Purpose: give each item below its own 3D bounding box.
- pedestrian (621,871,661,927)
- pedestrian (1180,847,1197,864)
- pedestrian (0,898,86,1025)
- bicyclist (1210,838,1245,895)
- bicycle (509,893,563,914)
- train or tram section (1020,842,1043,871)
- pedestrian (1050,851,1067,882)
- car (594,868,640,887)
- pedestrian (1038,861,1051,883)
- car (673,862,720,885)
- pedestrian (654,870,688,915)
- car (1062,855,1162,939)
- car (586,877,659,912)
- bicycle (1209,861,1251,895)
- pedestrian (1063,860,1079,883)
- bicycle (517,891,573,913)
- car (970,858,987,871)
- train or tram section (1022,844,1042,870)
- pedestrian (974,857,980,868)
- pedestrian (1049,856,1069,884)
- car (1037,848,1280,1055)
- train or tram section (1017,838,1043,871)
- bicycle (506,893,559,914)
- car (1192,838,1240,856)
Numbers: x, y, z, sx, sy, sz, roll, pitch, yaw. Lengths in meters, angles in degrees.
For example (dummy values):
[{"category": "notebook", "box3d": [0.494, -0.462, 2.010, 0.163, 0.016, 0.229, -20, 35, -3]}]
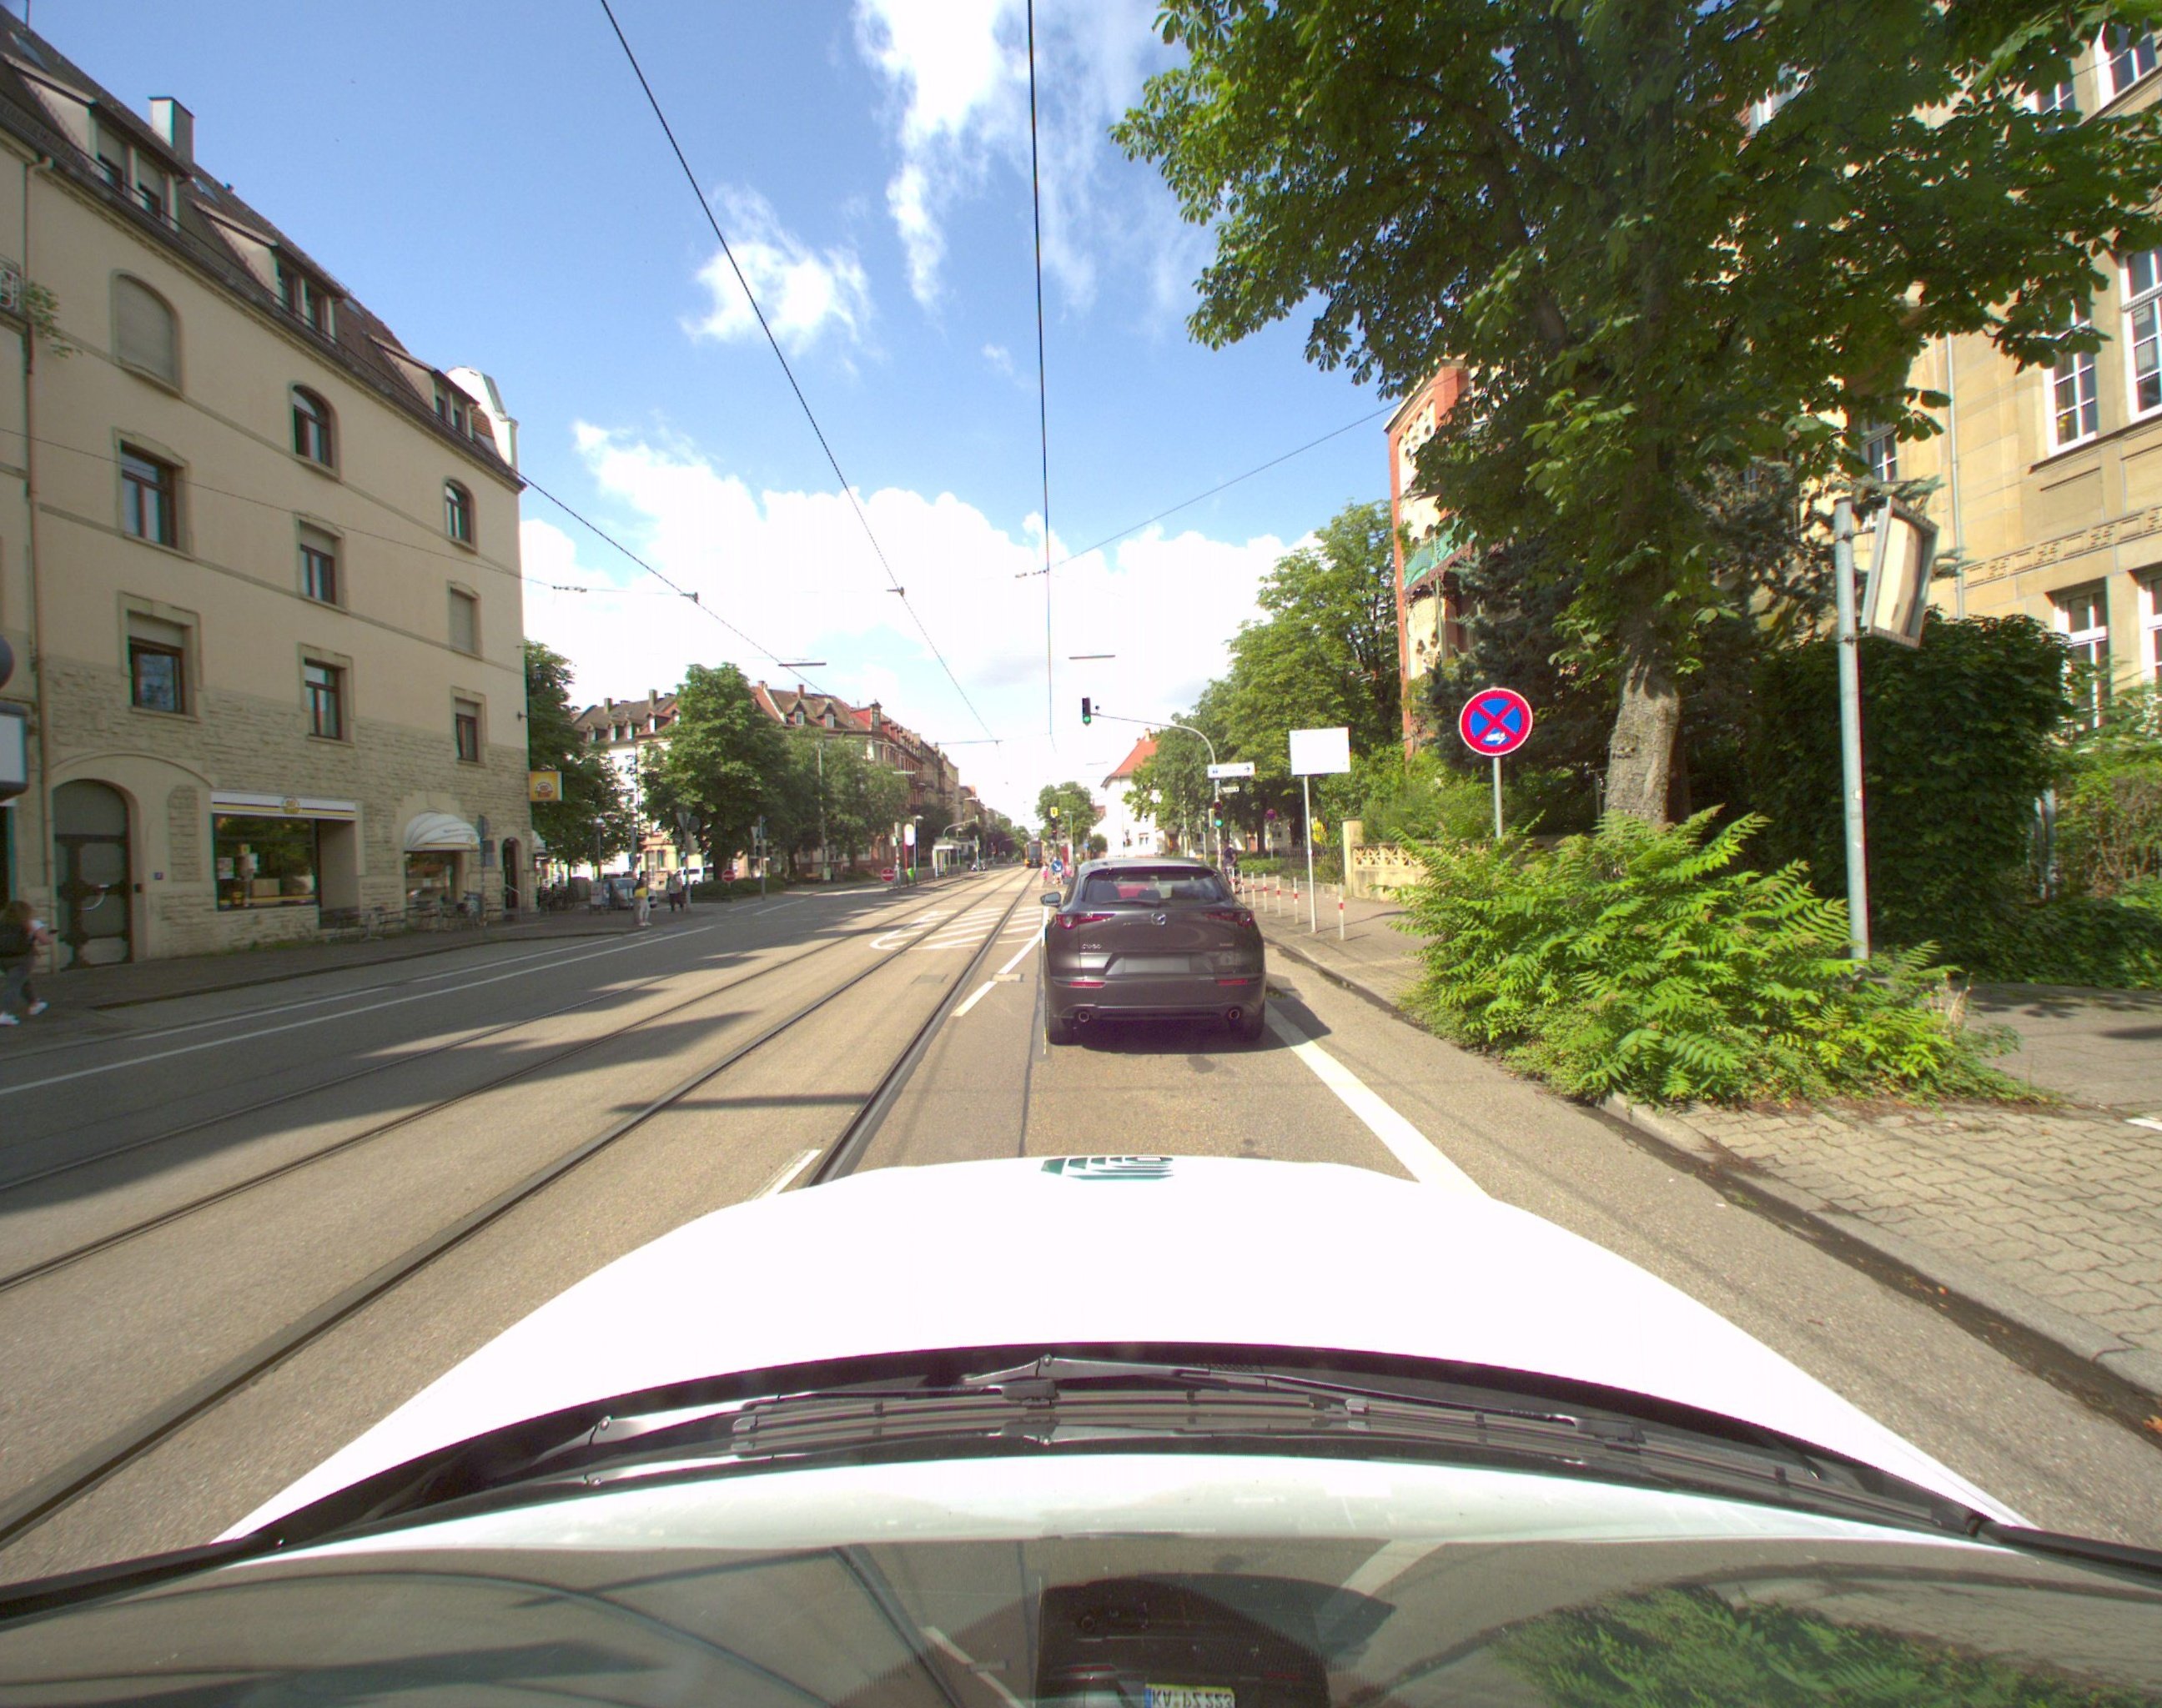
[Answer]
[{"category": "pedestrian", "box3d": [-13.809, 1.391, 25.577, 0.754, 1.704, 0.873, 2, 0, -3]}, {"category": "pedestrian", "box3d": [8.692, 0.093, 65.734, 1.191, 1.269, 0.556, -5, 0, -7]}, {"category": "pedestrian", "box3d": [-13.884, 1.379, 10.679, 0.697, 1.541, 0.955, 2, -1, -28]}, {"category": "bicyclist", "box3d": [4.840, 0.395, 26.867, 0.736, 1.819, 0.814, -3, 0, -25]}, {"category": "bicycle", "box3d": [-25.347, 2.302, 37.908, 0.505, 0.882, 2.043, -3, -2, 44]}, {"category": "train or tram section", "box3d": [-7.414, 0.488, 122.828, 2.991, 3.983, 13.792, -3, -1, -3]}, {"category": "pedestrian", "box3d": [-1.178, 0.646, 42.121, 0.727, 1.565, 0.797, -3, 0, -7]}, {"category": "car", "box3d": [-46.502, 2.356, 81.629, 3.895, 1.663, 1.926, -3, 0, 20]}, {"category": "pedestrian", "box3d": [-1.908, 0.929, 42.384, 0.439, 1.108, 0.420, -5, 0, -25]}, {"category": "car", "box3d": [-37.119, 1.872, 78.587, 3.901, 1.988, 1.866, -2, 0, 21]}, {"category": "pedestrian", "box3d": [-16.196, 1.509, 32.198, 0.852, 1.672, 0.822, -3, 0, -1]}, {"category": "car", "box3d": [0.540, 0.776, 16.553, 1.770, 1.464, 3.841, -1, 0, -1]}, {"category": "car", "box3d": [-21.260, 1.867, 37.711, 3.823, 1.420, 1.732, -3, 0, 41]}, {"category": "bicycle", "box3d": [4.955, 0.783, 26.977, 0.385, 1.035, 1.857, -3, 0, 42]}, {"category": "pedestrian", "box3d": [-0.530, 0.911, 42.508, 0.438, 1.114, 0.647, -3, -1, 39]}, {"category": "bicycle", "box3d": [-24.360, 2.175, 37.017, 0.516, 0.882, 2.043, -3, -2, 44]}, {"category": "car", "box3d": [-12.295, 1.295, 97.698, 1.620, 1.387, 3.434, -4, 0, -1]}, {"category": "train or tram section", "box3d": [-8.116, 0.667, 136.552, 2.991, 3.983, 13.792, -3, -1, -3]}, {"category": "pedestrian", "box3d": [-15.899, 1.306, 124.171, 0.785, 1.688, 0.732, -3, 0, -1]}, {"category": "pedestrian", "box3d": [-1.121, 0.806, 41.310, 0.825, 1.303, 0.716, -5, 0, -7]}, {"category": "car", "box3d": [0.643, 0.733, 8.003, 1.775, 1.514, 4.002, 0, 0, 2]}, {"category": "train or tram section", "box3d": [-6.733, 0.175, 109.004, 2.991, 3.983, 13.792, -3, -1, -3]}, {"category": "bicycle", "box3d": [-26.147, 2.364, 38.834, 0.505, 0.882, 2.043, -3, -2, 44]}, {"category": "car", "box3d": [13.019, -0.696, 78.719, 4.118, 1.509, 1.864, -3, 1, 40]}]
